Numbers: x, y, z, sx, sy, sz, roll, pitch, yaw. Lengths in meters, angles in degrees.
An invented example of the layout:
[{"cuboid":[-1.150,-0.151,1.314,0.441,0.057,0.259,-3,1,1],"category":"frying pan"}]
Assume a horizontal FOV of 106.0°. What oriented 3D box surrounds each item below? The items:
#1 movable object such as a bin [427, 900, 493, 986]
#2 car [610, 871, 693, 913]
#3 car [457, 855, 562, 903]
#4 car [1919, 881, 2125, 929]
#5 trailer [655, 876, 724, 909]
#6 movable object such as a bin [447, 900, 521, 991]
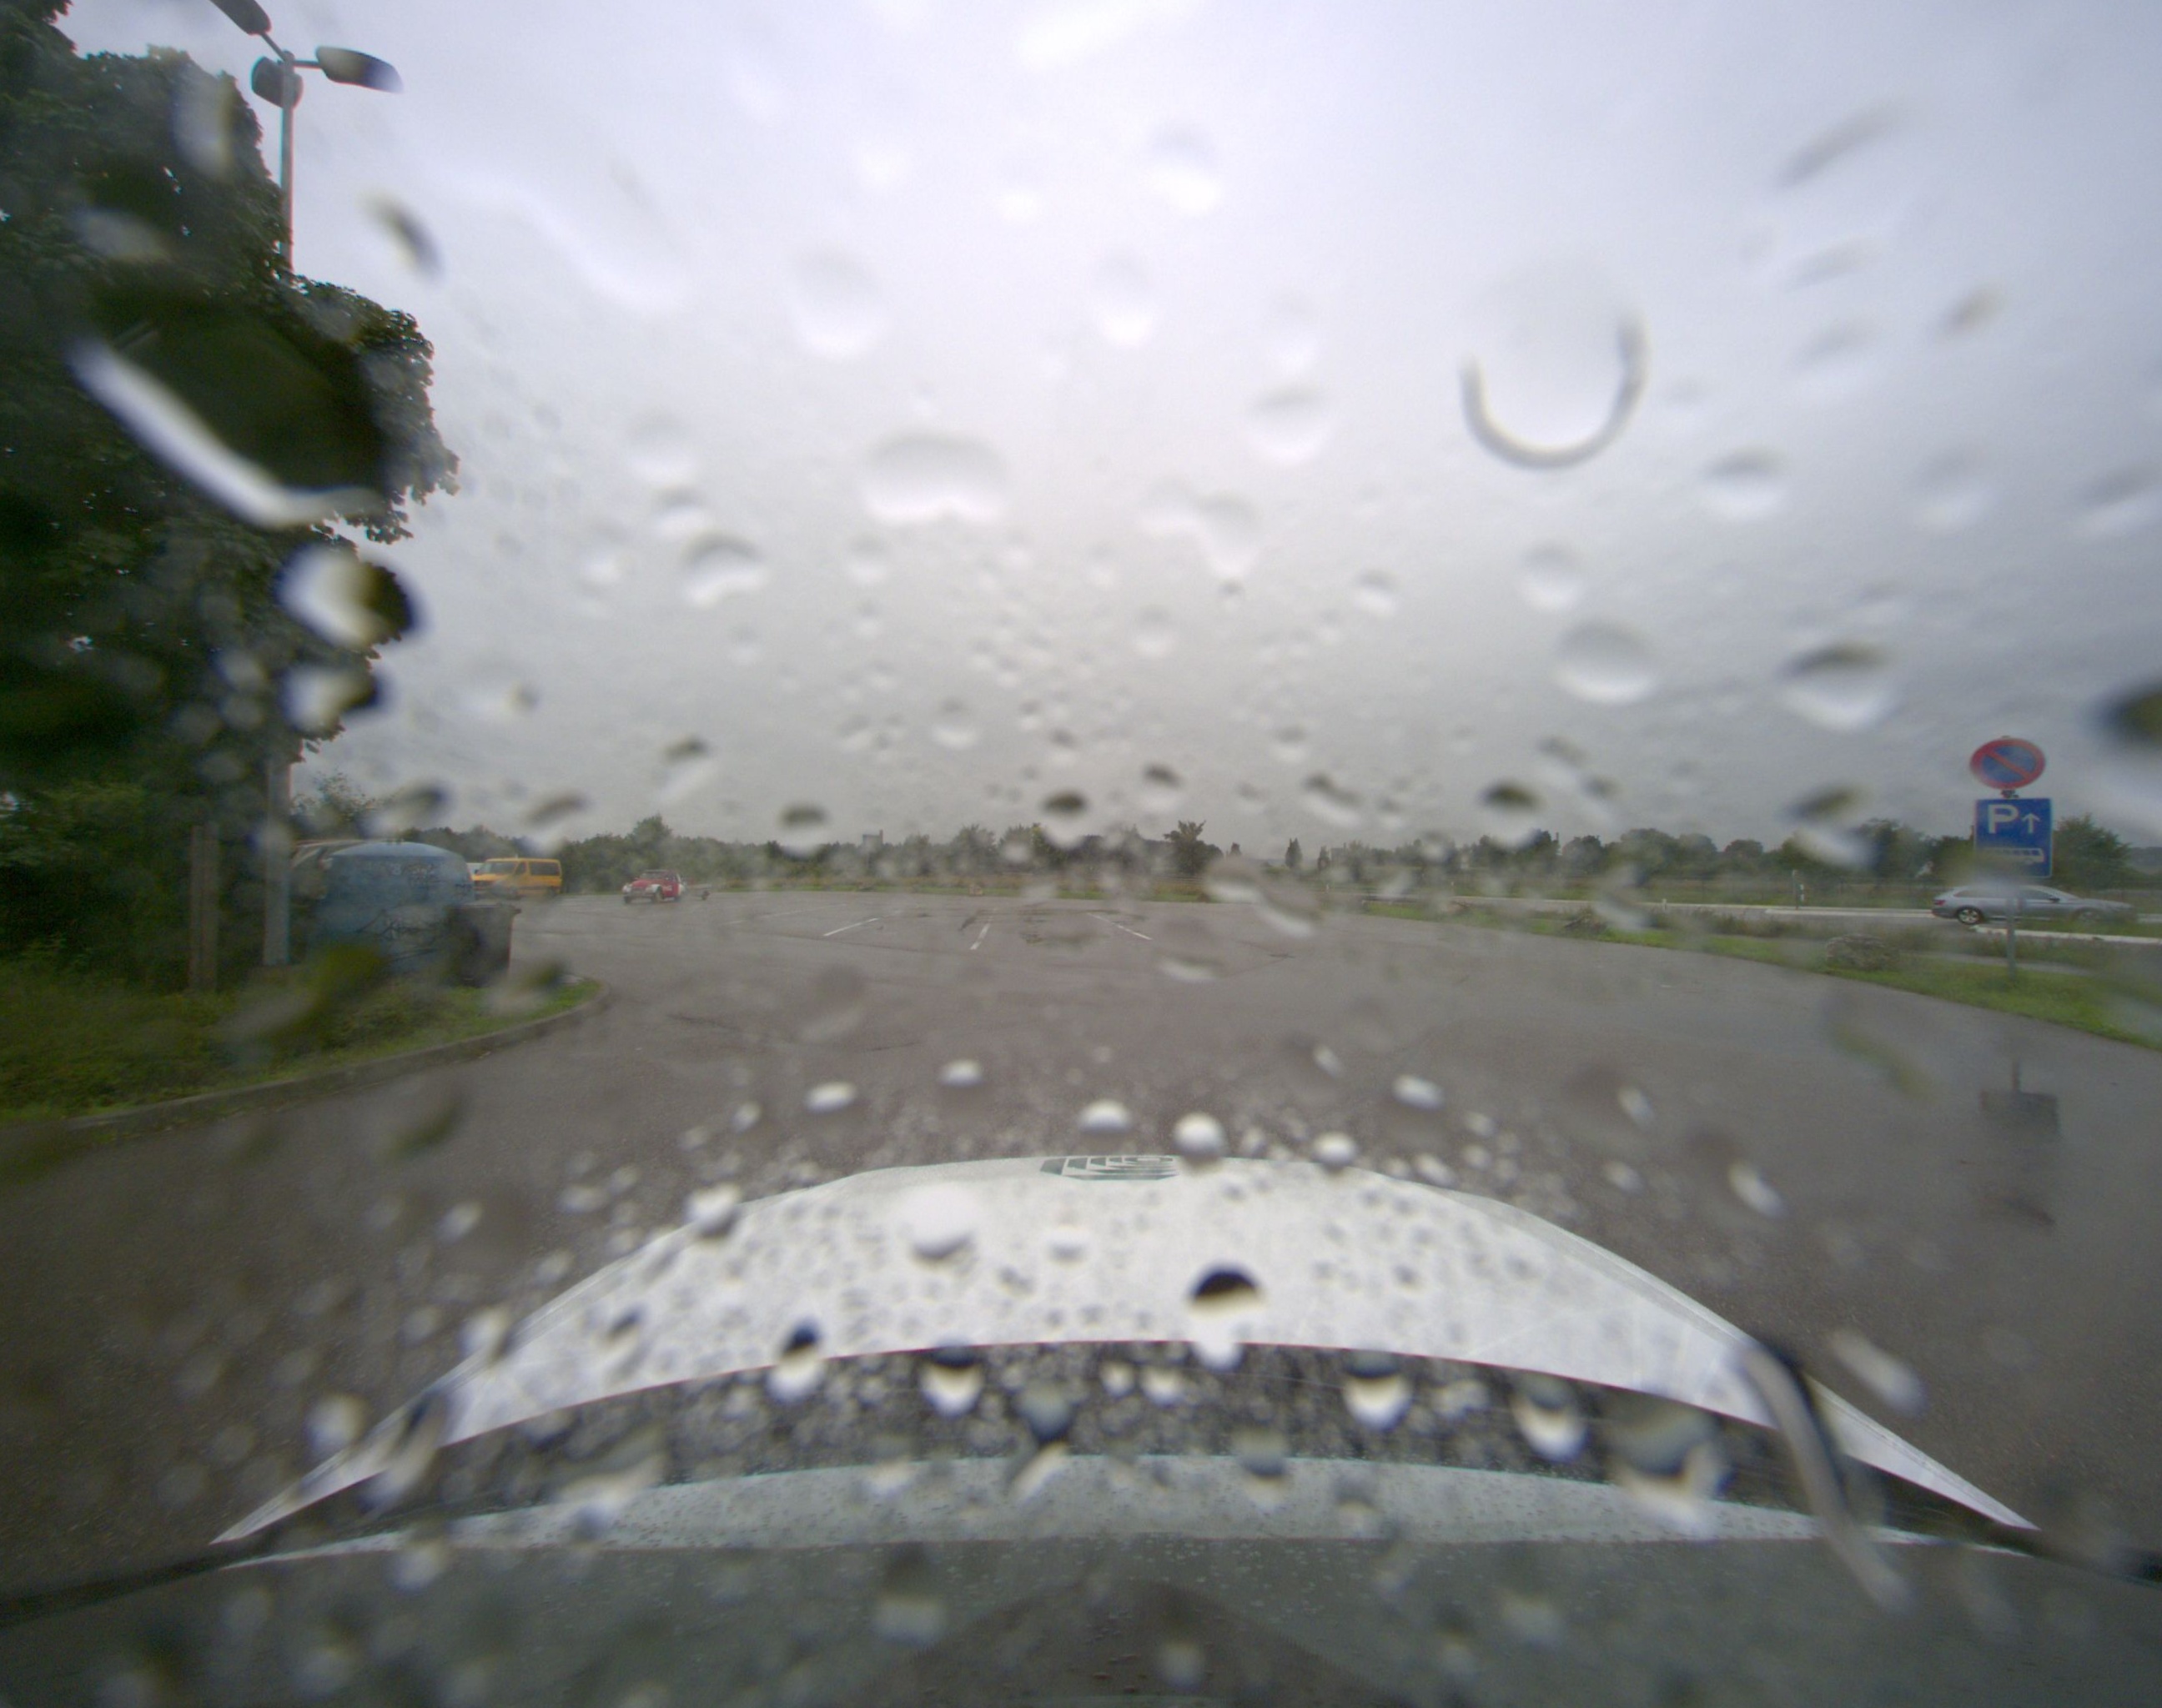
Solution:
[{"cuboid":[-7.143,1.013,9.376,0.404,0.949,0.449,1,-1,-7],"category":"movable object such as a bin"},{"cuboid":[-19.453,1.698,37.102,1.818,1.777,3.995,-1,-2,-3],"category":"car"},{"cuboid":[-30.773,1.361,44.131,1.991,2.380,6.011,-2,-2,-7],"category":"car"},{"cuboid":[34.228,1.786,29.778,2.006,1.481,4.617,-1,0,-30],"category":"car"},{"cuboid":[-19.679,1.903,41.098,1.691,1.533,3.994,-1,-1,-4],"category":"trailer"},{"cuboid":[-6.656,1.007,9.093,0.430,0.949,0.475,0,-1,17],"category":"movable object such as a bin"}]
